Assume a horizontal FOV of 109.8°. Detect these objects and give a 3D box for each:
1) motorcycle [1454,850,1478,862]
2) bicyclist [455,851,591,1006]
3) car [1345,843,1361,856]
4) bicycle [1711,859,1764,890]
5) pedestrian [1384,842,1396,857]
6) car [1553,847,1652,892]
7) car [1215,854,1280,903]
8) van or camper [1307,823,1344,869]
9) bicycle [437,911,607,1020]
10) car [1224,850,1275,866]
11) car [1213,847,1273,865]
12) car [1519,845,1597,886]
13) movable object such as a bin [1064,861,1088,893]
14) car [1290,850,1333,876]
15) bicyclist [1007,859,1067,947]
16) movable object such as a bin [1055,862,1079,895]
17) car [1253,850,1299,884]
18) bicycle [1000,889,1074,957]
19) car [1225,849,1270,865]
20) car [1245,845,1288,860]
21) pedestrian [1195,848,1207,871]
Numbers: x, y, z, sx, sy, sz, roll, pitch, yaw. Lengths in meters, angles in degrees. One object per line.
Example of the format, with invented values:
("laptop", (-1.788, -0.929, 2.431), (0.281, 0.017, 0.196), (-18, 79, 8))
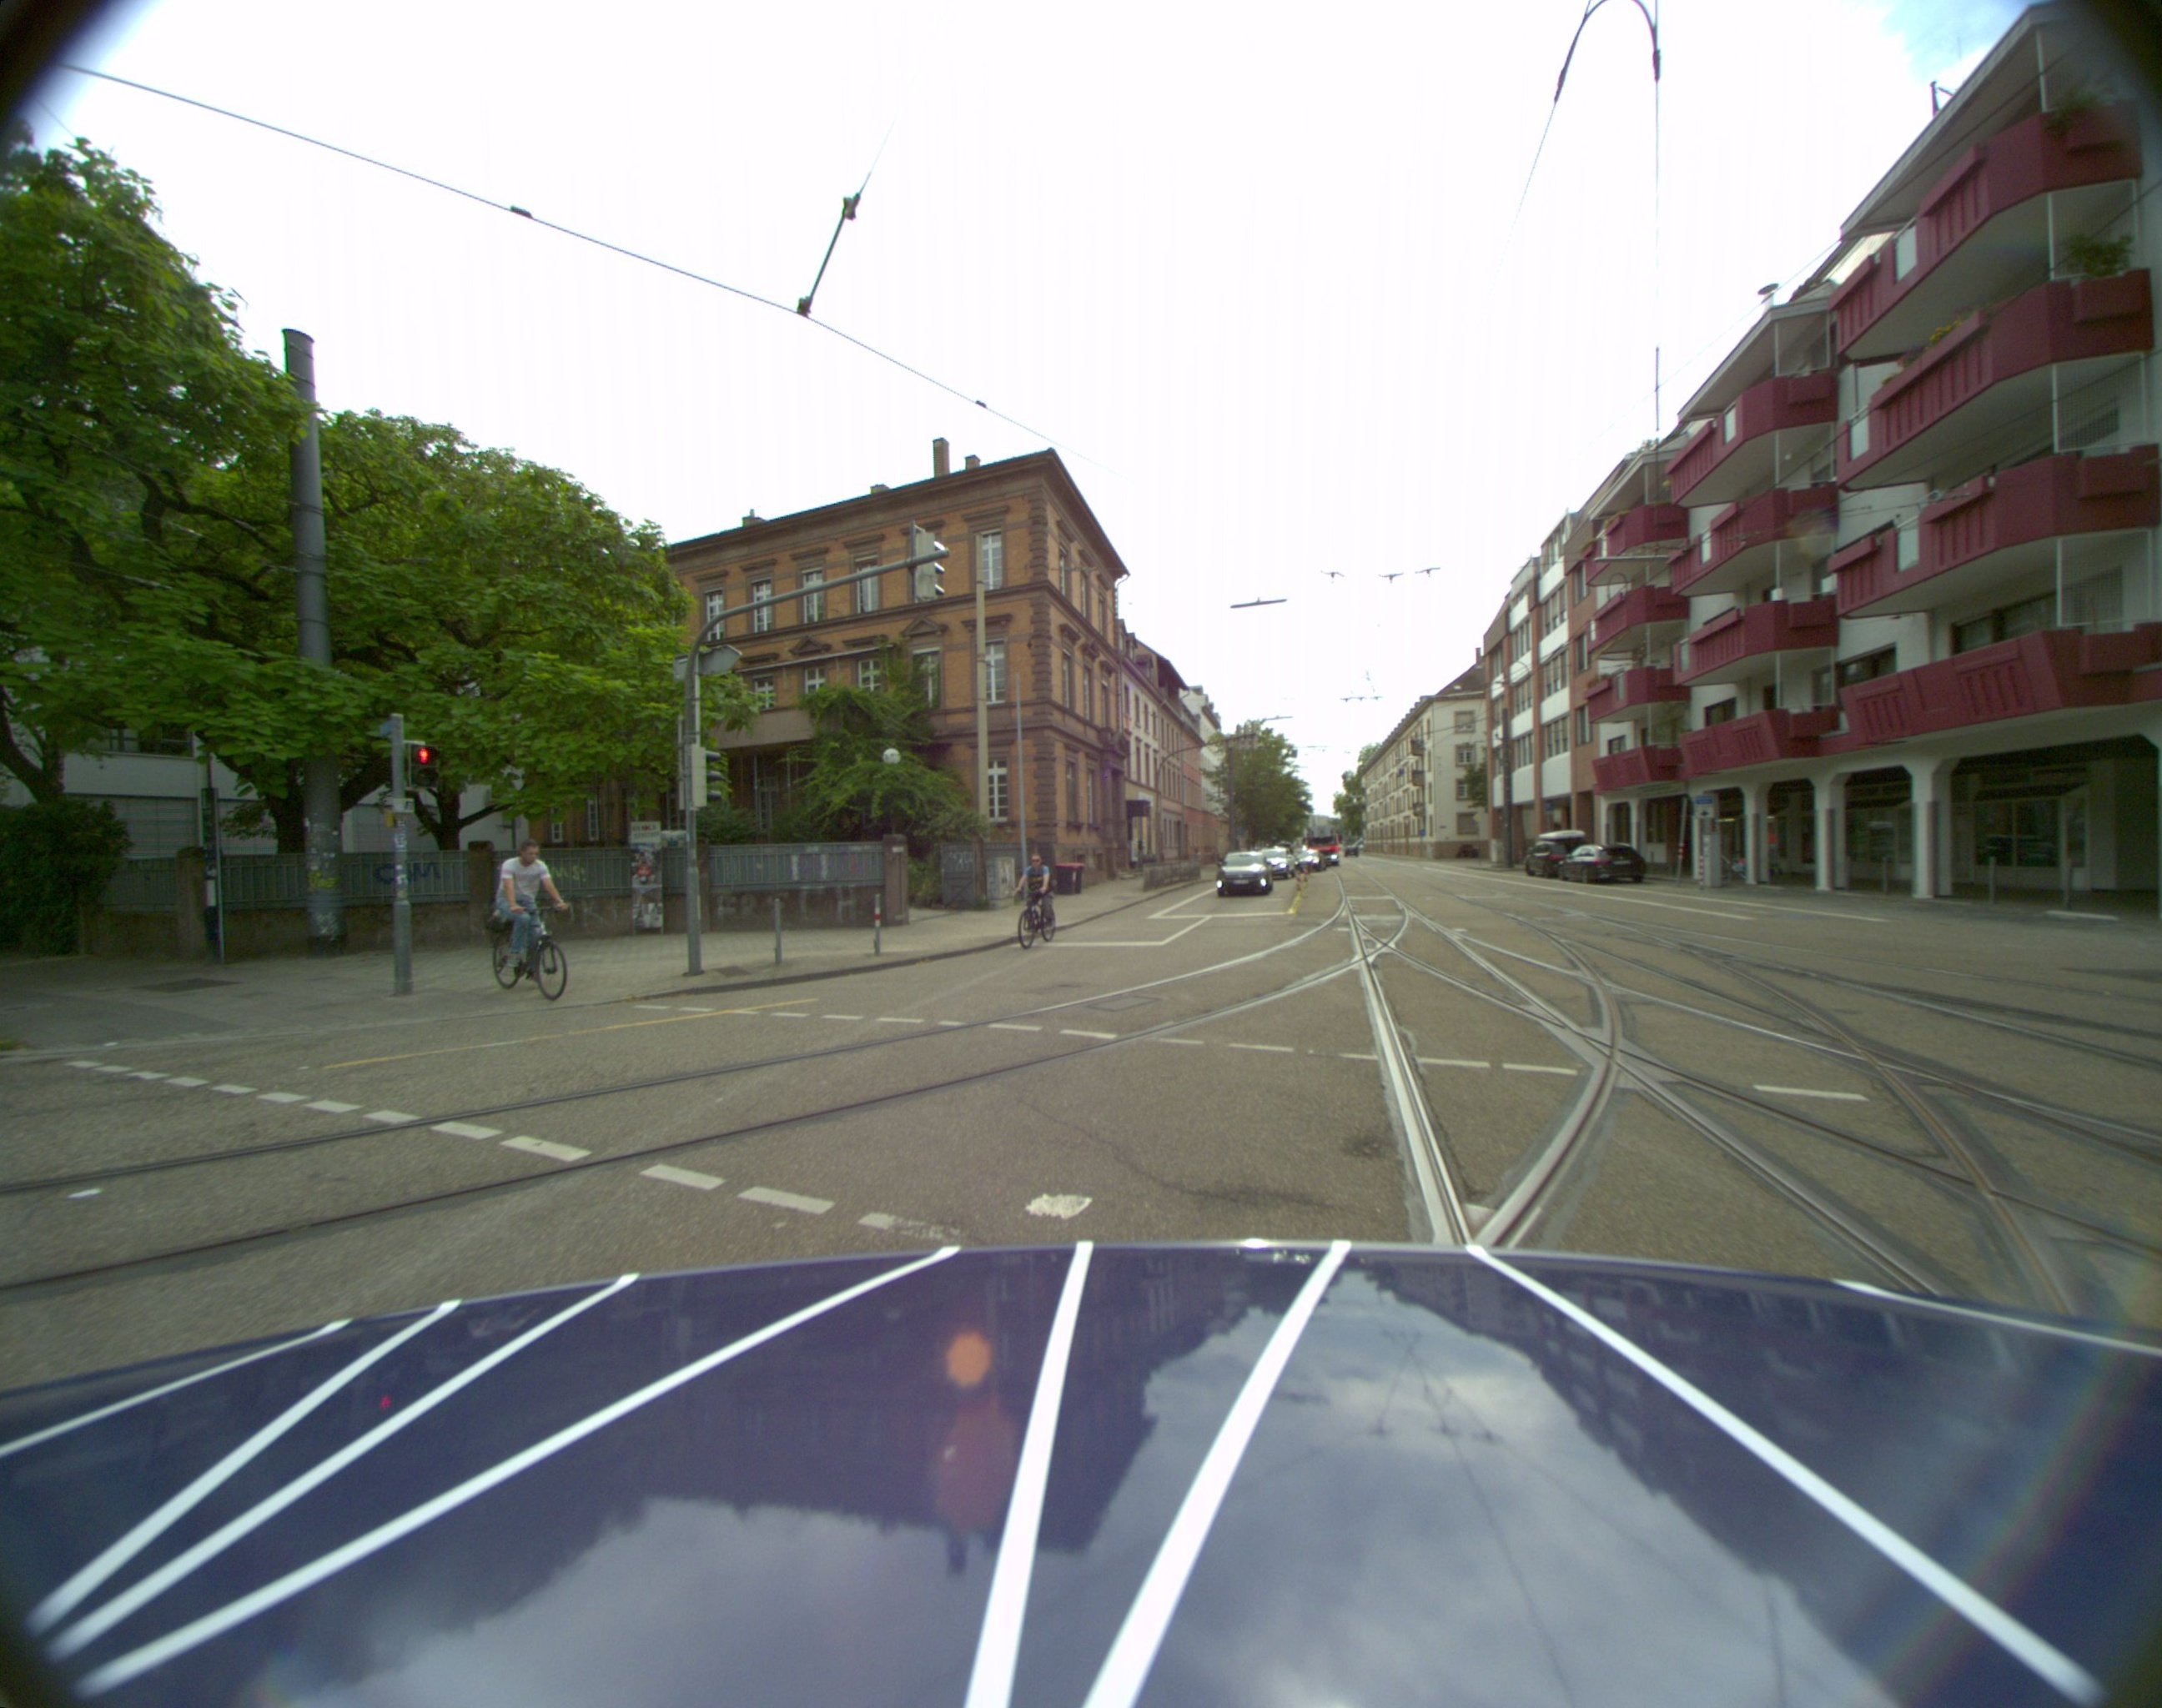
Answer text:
("motorcycle", (35.687, 0.163, 70.416), (1.922, 1.080, 0.794), (-1, 1, 17))
("bicyclist", (-6.849, 0.859, 9.346), (1.249, 1.751, 0.749), (1, 4, 23))
("car", (35.863, -0.609, 100.278), (1.771, 1.528, 4.054), (-2, 0, 18))
("bicycle", (21.584, 0.651, 25.023), (0.565, 0.948, 1.651), (-1, 1, 10))
("pedestrian", (38.576, -0.579, 94.896), (1.002, 1.831, 1.017), (-2, 1, -27))
("car", (19.827, 0.547, 29.116), (1.757, 1.471, 4.703), (-3, 0, 17))
("car", (6.173, 0.855, 27.814), (1.771, 1.538, 4.287), (-2, 0, 19))
("van or camper", (19.918, -0.681, 62.369), (2.604, 3.401, 9.663), (-1, 1, 16))
("bicycle", (-6.915, 1.332, 9.398), (2.011, 1.080, 0.752), (1, 3, 23))
("car", (15.740, 0.393, 71.150), (4.345, 1.471, 1.788), (0, 1, -7))
("car", (13.712, 0.190, 64.237), (4.628, 1.464, 1.788), (0, 1, -7))
("car", (21.605, 0.472, 34.630), (1.809, 1.637, 4.703), (-3, 0, 17))
("movable object such as a bin", (-0.189, 0.821, 27.270), (0.664, 1.076, 0.701), (3, 3, 14))
("car", (14.944, 0.544, 49.060), (1.770, 1.526, 4.056), (-2, 0, 29))
("bicyclist", (-0.788, 0.868, 13.834), (0.715, 1.498, 0.919), (-4, 0, 16))
("movable object such as a bin", (-0.472, 0.851, 26.609), (0.651, 1.076, 0.678), (3, 3, 13))
("car", (10.299, 0.666, 39.938), (1.771, 1.582, 4.288), (-2, 0, 22))
("bicycle", (-0.764, 1.225, 13.825), (0.713, 1.012, 1.802), (-4, 0, 16))
("car", (17.086, 0.303, 78.085), (4.239, 1.689, 1.738), (0, 1, -7))
("car", (21.956, -0.193, 90.013), (4.628, 1.689, 1.915), (0, 1, -7))
("pedestrian", (9.259, 0.413, 58.675), (0.731, 1.679, 0.927), (3, 2, 17))
